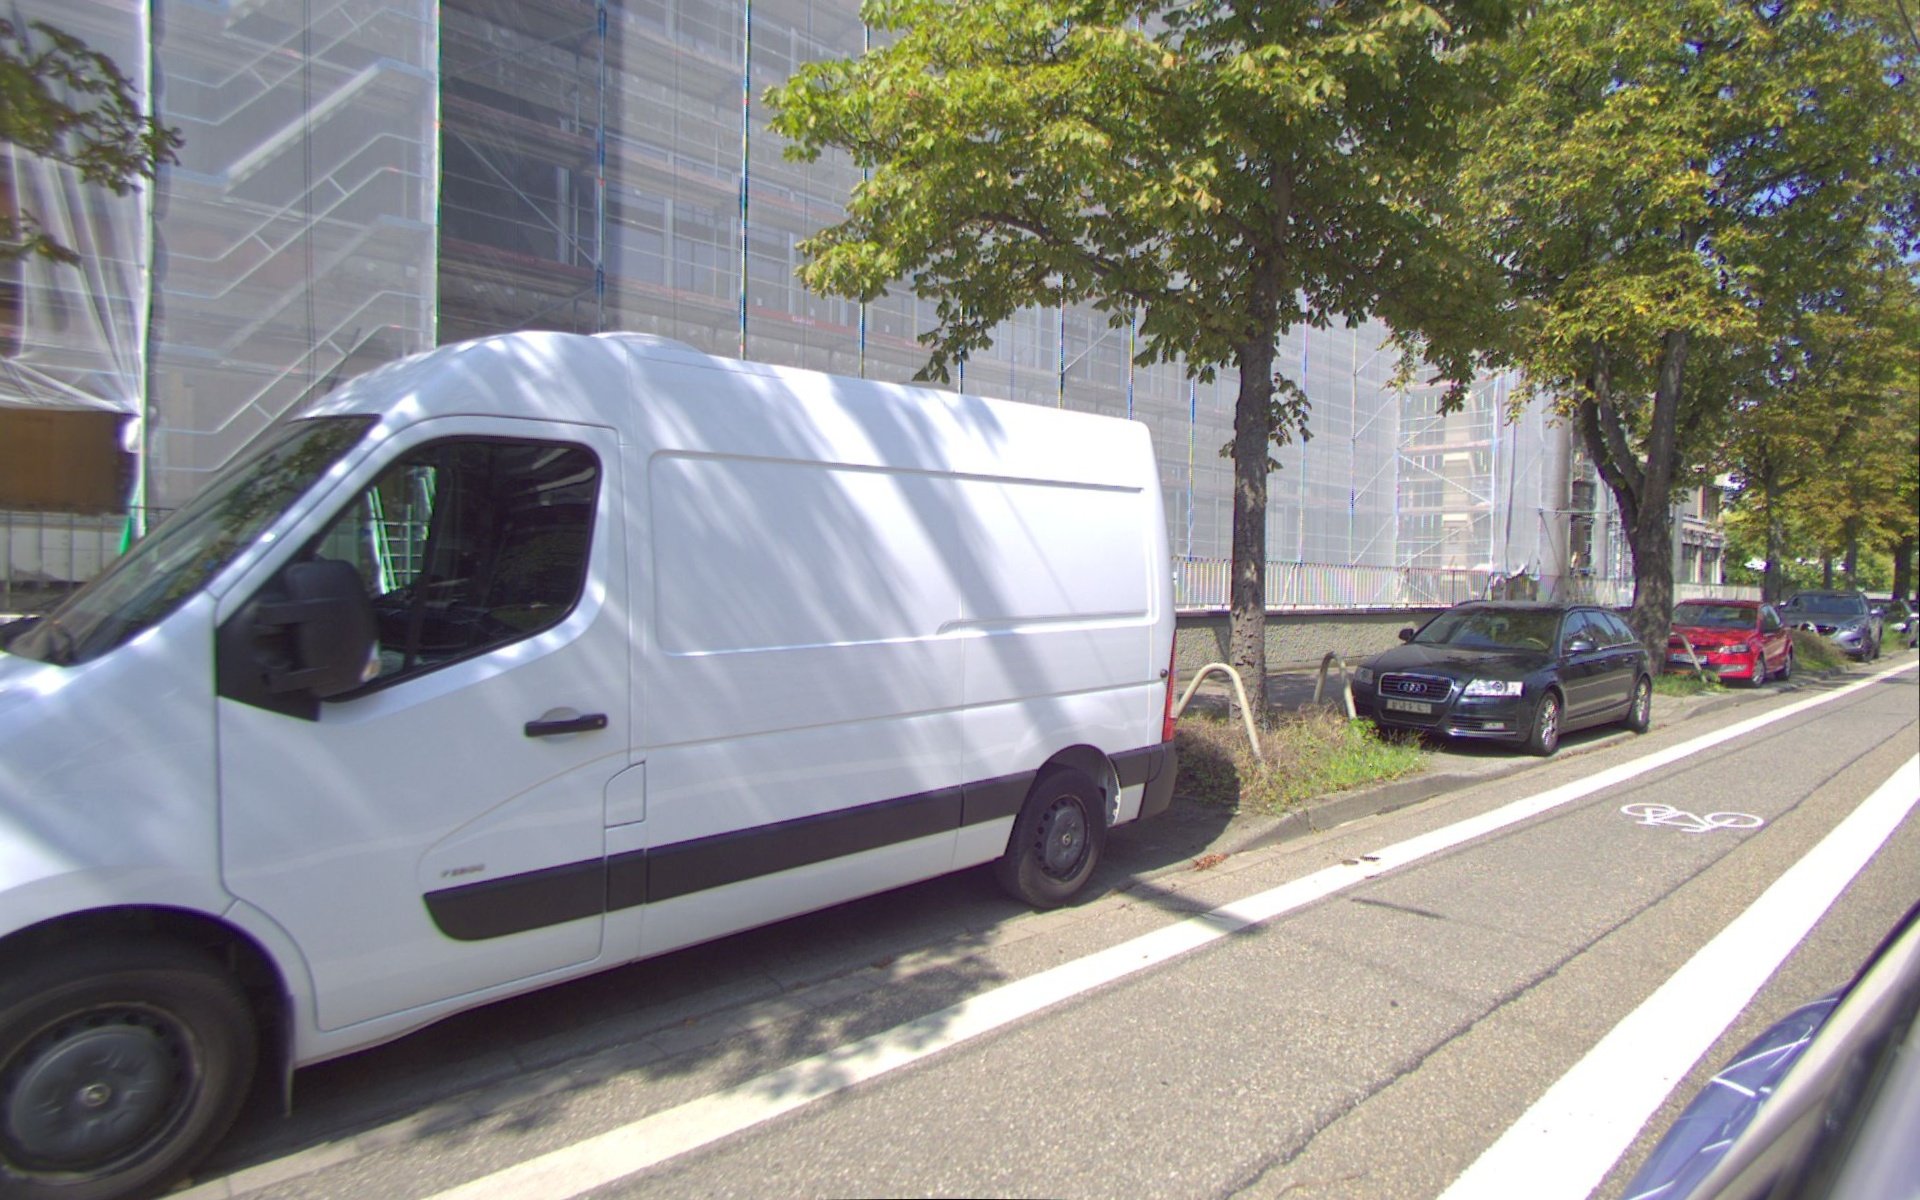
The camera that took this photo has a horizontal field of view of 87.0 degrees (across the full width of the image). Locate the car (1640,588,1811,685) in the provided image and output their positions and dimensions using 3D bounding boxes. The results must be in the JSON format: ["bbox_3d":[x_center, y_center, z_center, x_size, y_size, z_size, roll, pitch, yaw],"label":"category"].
[{"bbox_3d":[13.696,0.562,18.025,4.061,1.519,1.688,0,1,-42],"label":"car"}]

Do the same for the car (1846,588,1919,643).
[{"bbox_3d":[29.148,0.464,31.599,3.929,1.590,1.688,0,0,-41],"label":"car"}]

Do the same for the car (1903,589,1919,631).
[{"bbox_3d":[38.473,0.457,39.720,4.010,1.589,1.645,1,1,-40],"label":"car"}]

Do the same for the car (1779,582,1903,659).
[{"bbox_3d":[21.527,0.455,24.668,4.569,1.710,1.764,0,0,-42],"label":"car"}]

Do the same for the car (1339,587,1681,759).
[{"bbox_3d":[6.067,0.614,10.885,4.719,1.458,1.688,0,1,-41],"label":"car"}]

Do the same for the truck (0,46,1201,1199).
[{"bbox_3d":[-1.373,0.047,4.317,5.497,2.631,1.919,0,1,-42],"label":"truck"}]
